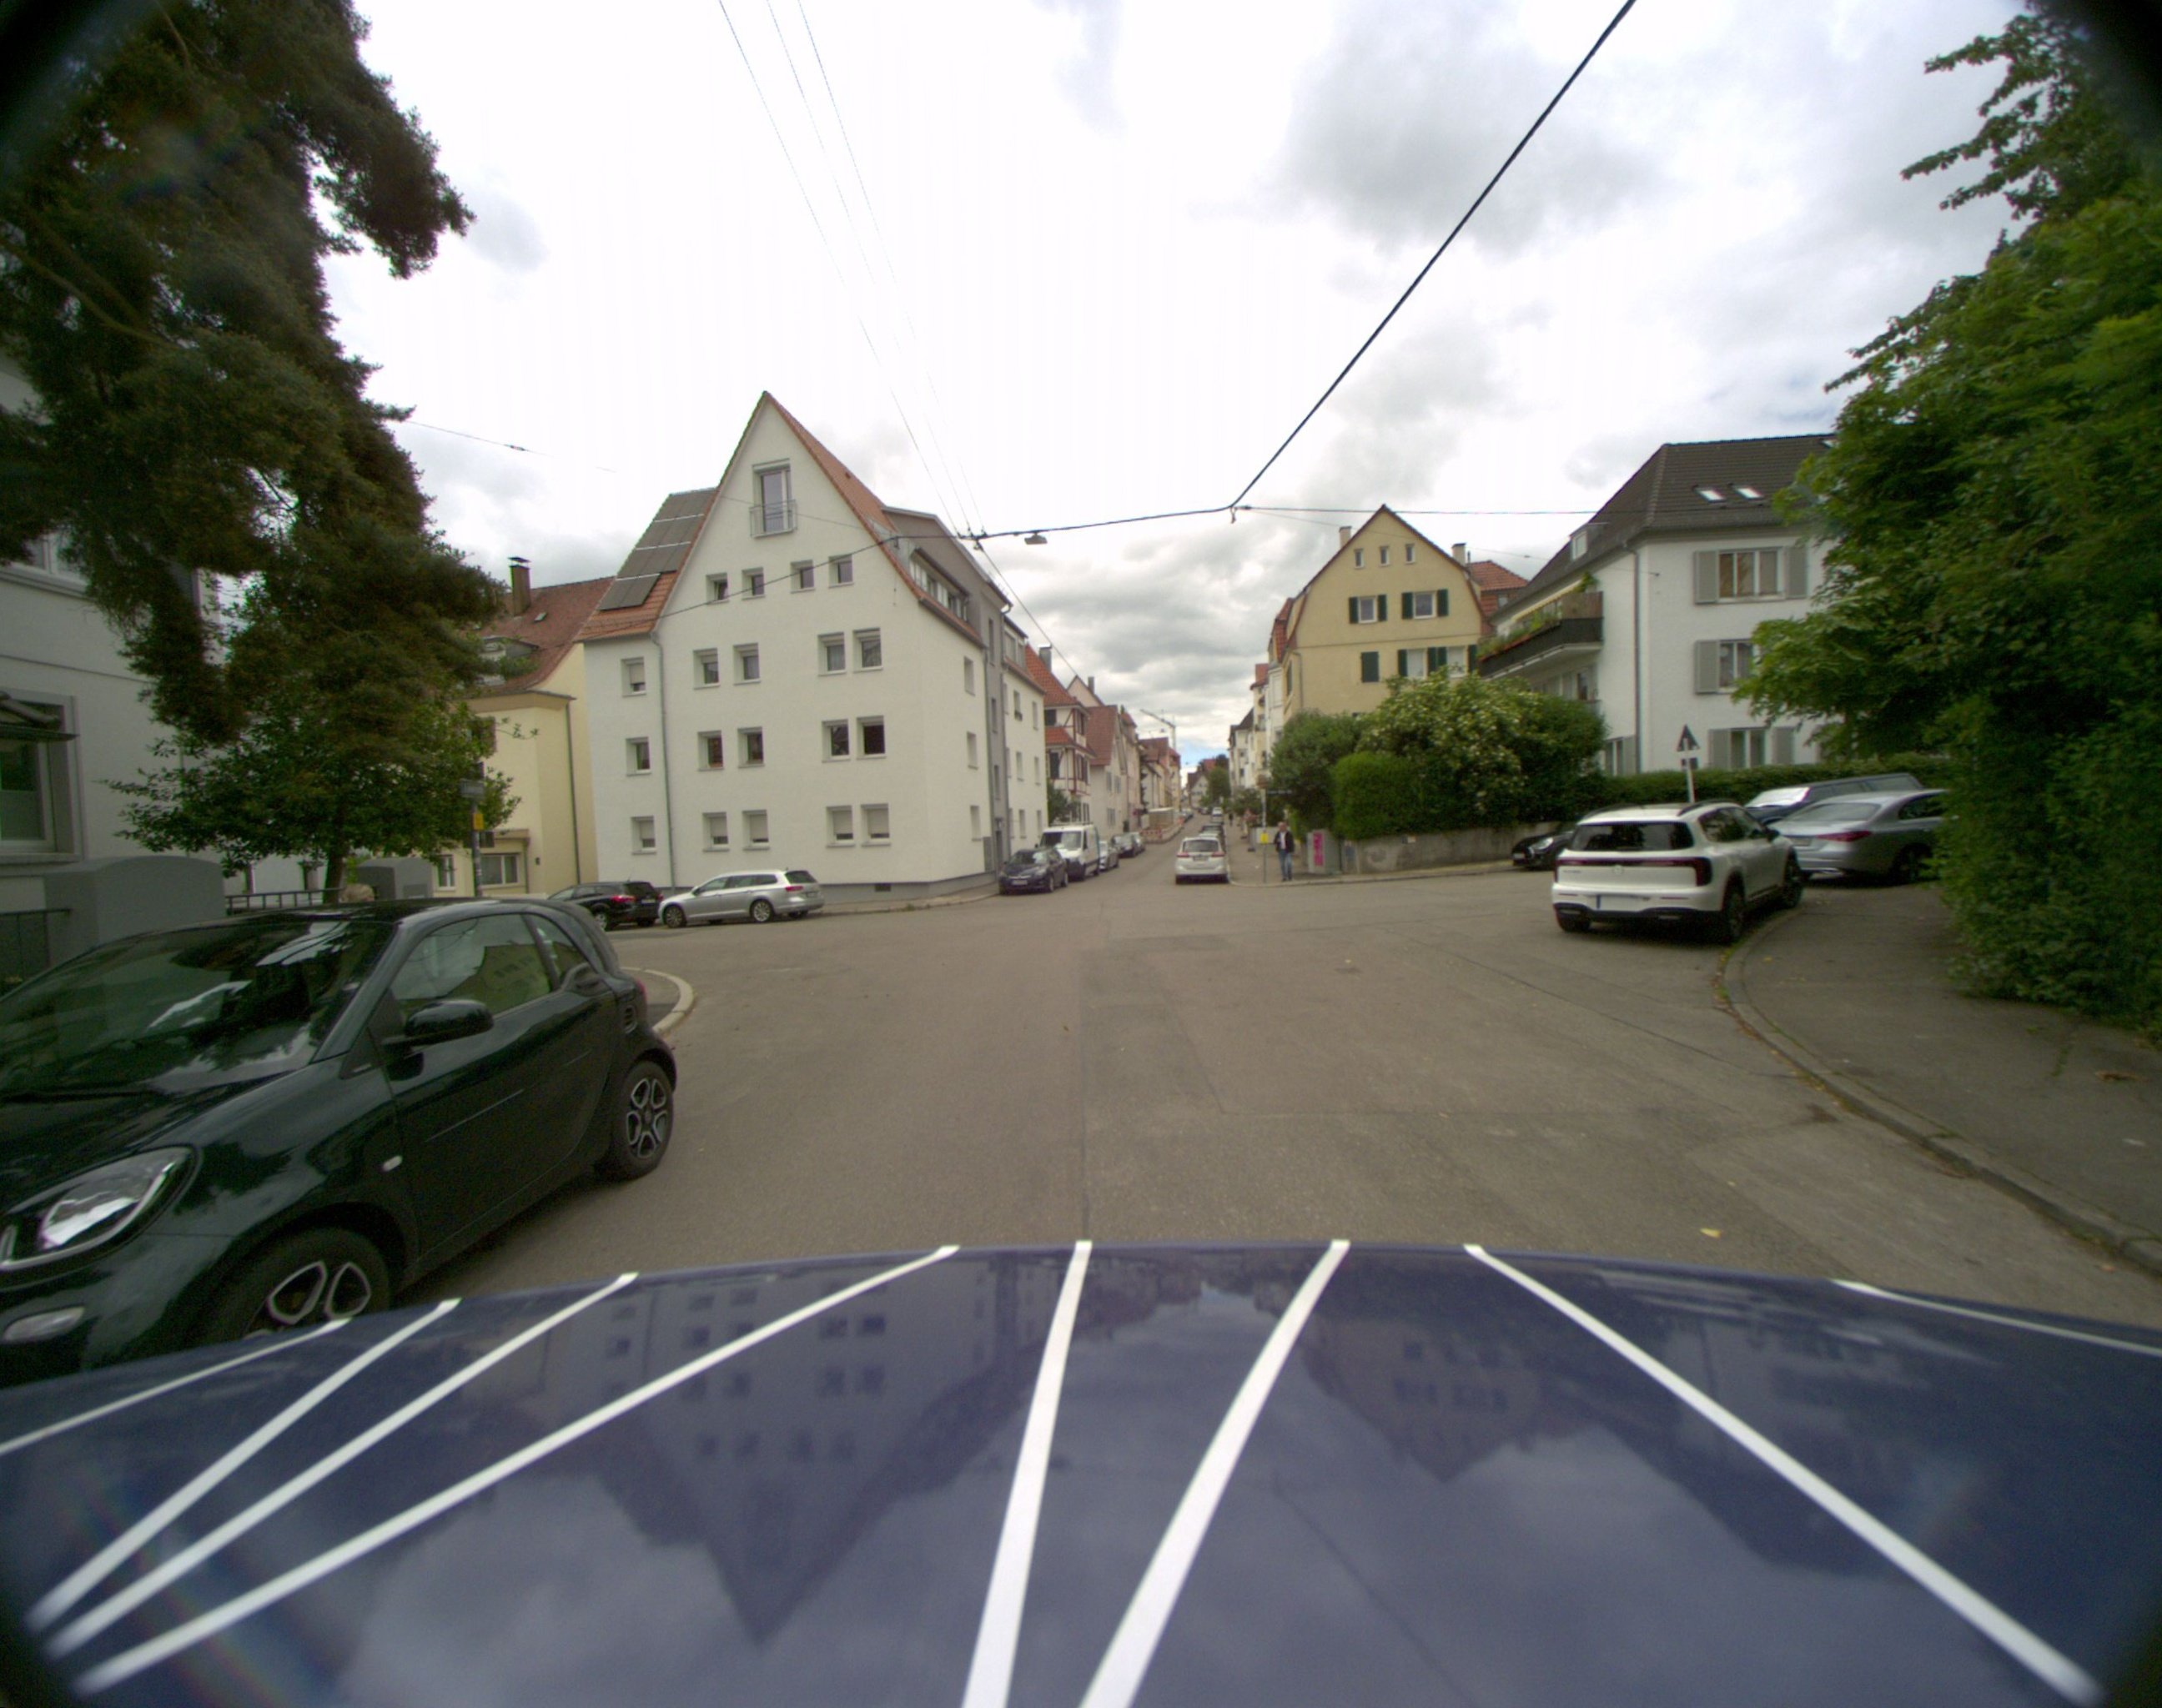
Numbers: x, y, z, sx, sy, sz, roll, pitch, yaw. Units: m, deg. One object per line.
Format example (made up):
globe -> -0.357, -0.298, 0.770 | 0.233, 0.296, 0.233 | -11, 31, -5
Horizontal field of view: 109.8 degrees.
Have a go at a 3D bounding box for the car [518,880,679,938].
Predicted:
car -> -14.426, 1.636, 22.759 | 3.993, 1.413, 1.739 | -4, 1, 15

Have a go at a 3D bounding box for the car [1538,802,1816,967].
car -> 8.302, 0.273, 10.430 | 4.521, 1.646, 1.830 | -6, 2, -37

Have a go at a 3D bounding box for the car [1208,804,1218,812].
car -> 27.486, -9.547, 158.122 | 1.781, 1.558, 4.000 | -2, 5, 12

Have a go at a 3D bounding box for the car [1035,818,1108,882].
car -> -0.301, -0.267, 32.777 | 1.997, 2.409, 5.294 | -2, 3, 12

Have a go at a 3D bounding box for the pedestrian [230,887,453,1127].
pedestrian -> -5.418, 1.064, 5.633 | 0.682, 1.568, 0.906 | 0, 2, 5

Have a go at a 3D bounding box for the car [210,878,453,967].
car -> -16.077, 1.473, 16.349 | 4.196, 1.435, 1.671 | -4, 5, 15

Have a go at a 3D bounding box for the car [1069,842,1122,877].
car -> 0.810, 0.233, 38.496 | 1.827, 1.437, 4.384 | -3, 3, 12

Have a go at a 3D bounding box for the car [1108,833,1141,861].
car -> 2.879, -0.482, 49.476 | 1.608, 1.481, 4.024 | -3, 3, 10

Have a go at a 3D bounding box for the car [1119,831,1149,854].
car -> 3.838, -0.836, 54.329 | 1.628, 1.385, 4.237 | -3, 3, 10

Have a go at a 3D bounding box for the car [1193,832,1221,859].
car -> 7.782, -0.542, 46.738 | 1.641, 1.421, 4.124 | 0, 4, 10

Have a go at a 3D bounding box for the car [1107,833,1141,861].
car -> 2.826, -0.491, 49.501 | 1.780, 1.711, 4.001 | -3, 1, 9

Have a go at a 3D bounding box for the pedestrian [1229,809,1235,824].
pedestrian -> 17.906, -4.457, 89.937 | 0.616, 1.647, 0.812 | -3, 3, 12

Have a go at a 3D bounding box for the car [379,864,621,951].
car -> -11.048, 1.000, 14.571 | 3.475, 1.255, 1.671 | -4, 4, 11

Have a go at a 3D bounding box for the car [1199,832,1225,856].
car -> 8.745, -0.714, 50.746 | 1.641, 1.391, 3.704 | -2, 3, 10

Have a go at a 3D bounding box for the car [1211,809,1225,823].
car -> 17.958, -4.957, 99.300 | 1.661, 1.558, 4.000 | -1, 5, 12

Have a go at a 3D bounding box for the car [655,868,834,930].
car -> -9.480, 1.260, 21.508 | 4.352, 1.441, 1.765 | -3, 1, 12

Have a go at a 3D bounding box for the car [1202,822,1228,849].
car -> 9.855, -1.410, 56.216 | 1.752, 1.787, 4.149 | -1, 4, 8

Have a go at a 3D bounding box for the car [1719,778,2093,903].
car -> 13.549, -0.240, 12.626 | 4.513, 1.429, 1.833 | -6, 2, -6

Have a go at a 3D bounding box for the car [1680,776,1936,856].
car -> 18.743, -0.956, 19.758 | 4.731, 1.474, 1.888 | -6, 1, 1

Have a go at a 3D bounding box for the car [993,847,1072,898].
car -> -1.602, 0.579, 26.769 | 1.822, 1.477, 4.288 | -2, 2, 9

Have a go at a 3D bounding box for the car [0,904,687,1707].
car -> -3.077, 1.107, 2.953 | 1.576, 1.523, 2.867 | -5, 0, -3

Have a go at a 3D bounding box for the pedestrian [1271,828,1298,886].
pedestrian -> 6.310, 0.085, 23.501 | 0.643, 1.750, 0.823 | -4, 1, 18

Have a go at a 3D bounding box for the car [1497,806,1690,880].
car -> 13.273, -0.280, 19.862 | 3.716, 1.514, 1.787 | -5, 1, 2

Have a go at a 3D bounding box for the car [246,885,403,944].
car -> -25.916, 2.066, 26.069 | 3.993, 1.597, 1.869 | -4, 2, 13

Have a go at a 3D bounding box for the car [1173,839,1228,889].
car -> 4.431, 0.297, 27.922 | 1.807, 1.650, 4.153 | -1, 1, 10
